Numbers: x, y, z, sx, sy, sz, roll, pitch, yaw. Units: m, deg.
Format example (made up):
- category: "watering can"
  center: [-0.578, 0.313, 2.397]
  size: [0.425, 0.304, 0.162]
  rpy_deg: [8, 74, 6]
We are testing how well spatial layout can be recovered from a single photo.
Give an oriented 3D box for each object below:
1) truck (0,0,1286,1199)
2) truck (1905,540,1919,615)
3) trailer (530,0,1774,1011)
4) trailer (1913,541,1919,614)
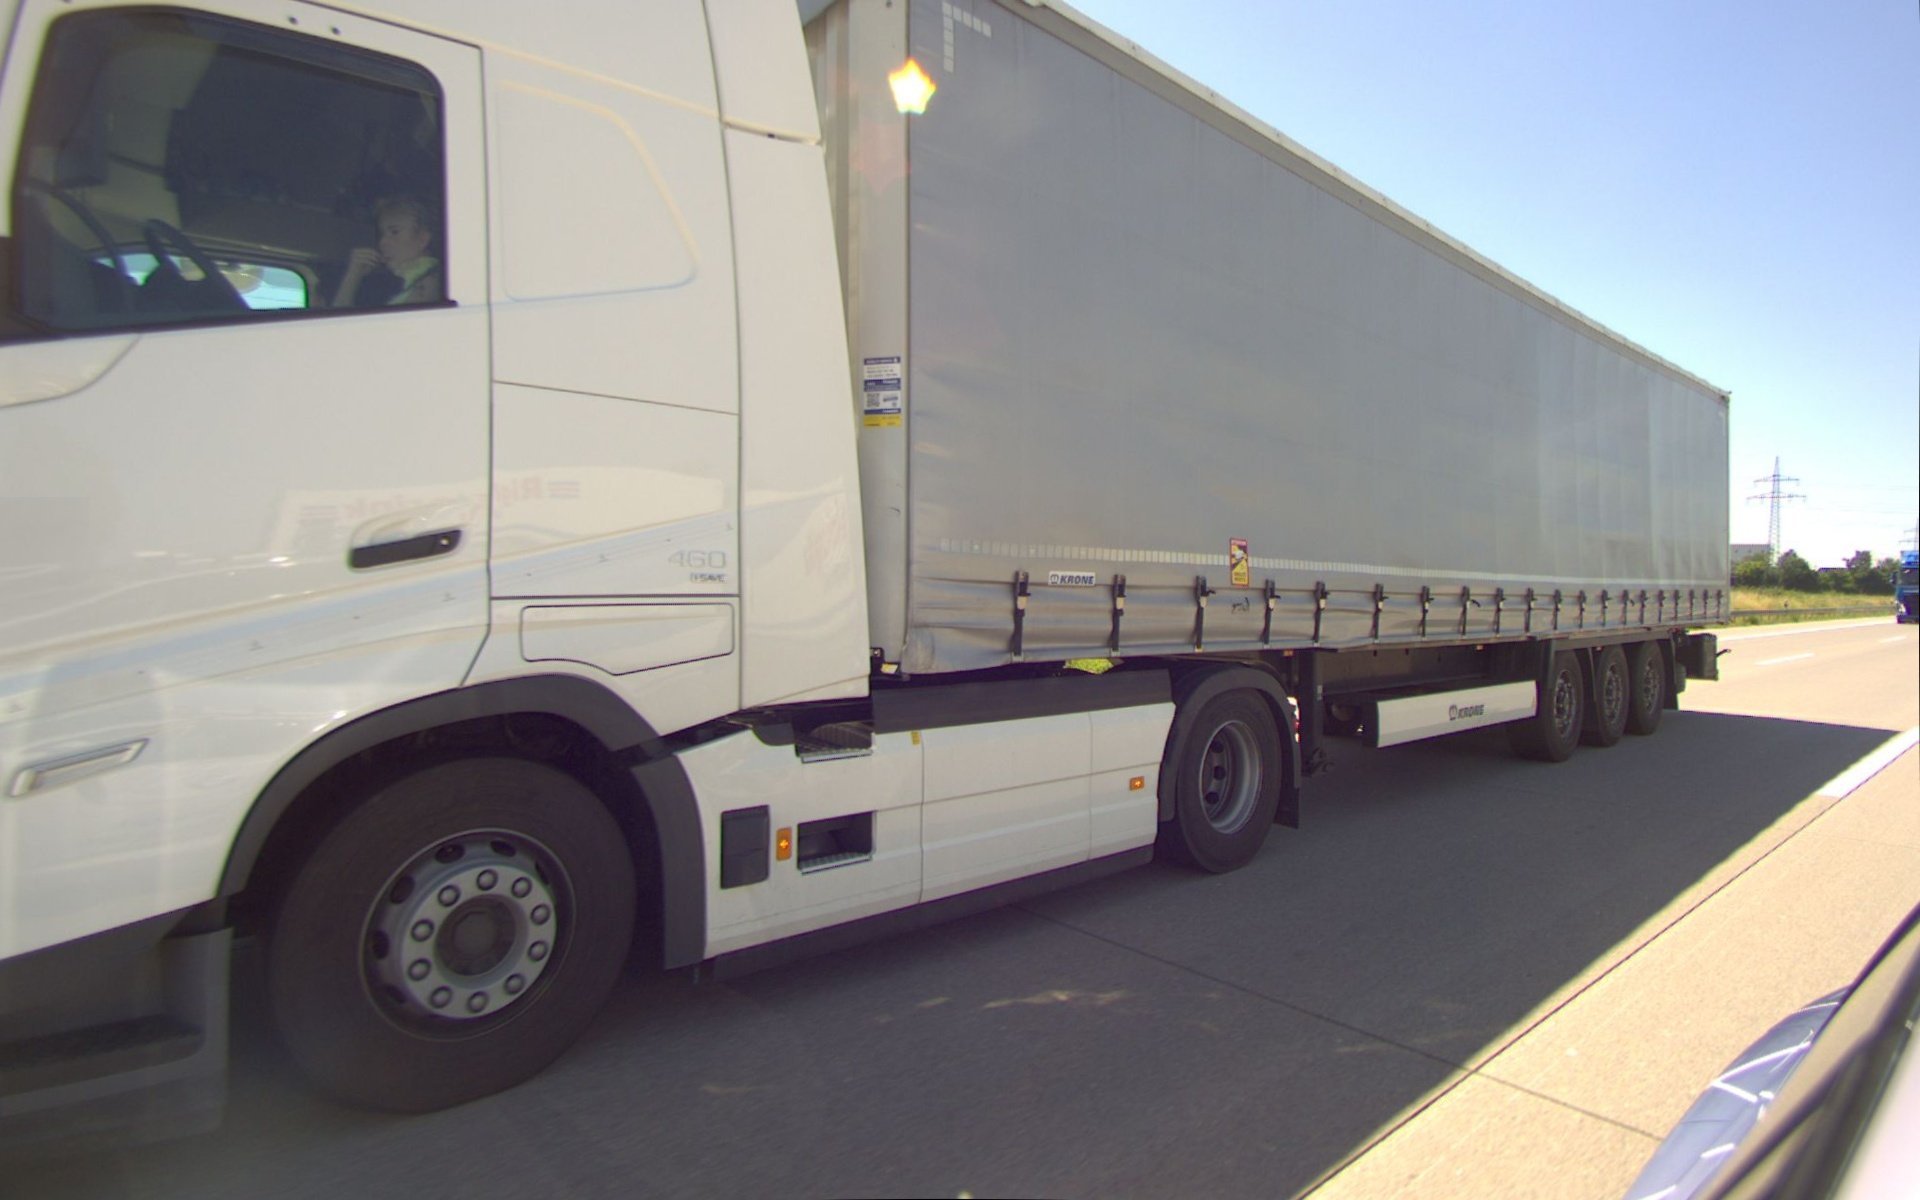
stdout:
- category: "truck"
  center: [-1.322, -0.748, 4.599]
  size: [5.381, 4.114, 2.990]
  rpy_deg: [0, 0, -41]
- category: "truck"
  center: [54.556, -1.243, 55.972]
  size: [5.369, 4.095, 2.755]
  rpy_deg: [0, 0, -40]
- category: "trailer"
  center: [3.832, -0.752, 9.079]
  size: [13.959, 4.112, 3.023]
  rpy_deg: [0, 0, -41]
- category: "trailer"
  center: [59.451, -1.279, 60.176]
  size: [12.674, 4.095, 2.714]
  rpy_deg: [0, 0, -40]
